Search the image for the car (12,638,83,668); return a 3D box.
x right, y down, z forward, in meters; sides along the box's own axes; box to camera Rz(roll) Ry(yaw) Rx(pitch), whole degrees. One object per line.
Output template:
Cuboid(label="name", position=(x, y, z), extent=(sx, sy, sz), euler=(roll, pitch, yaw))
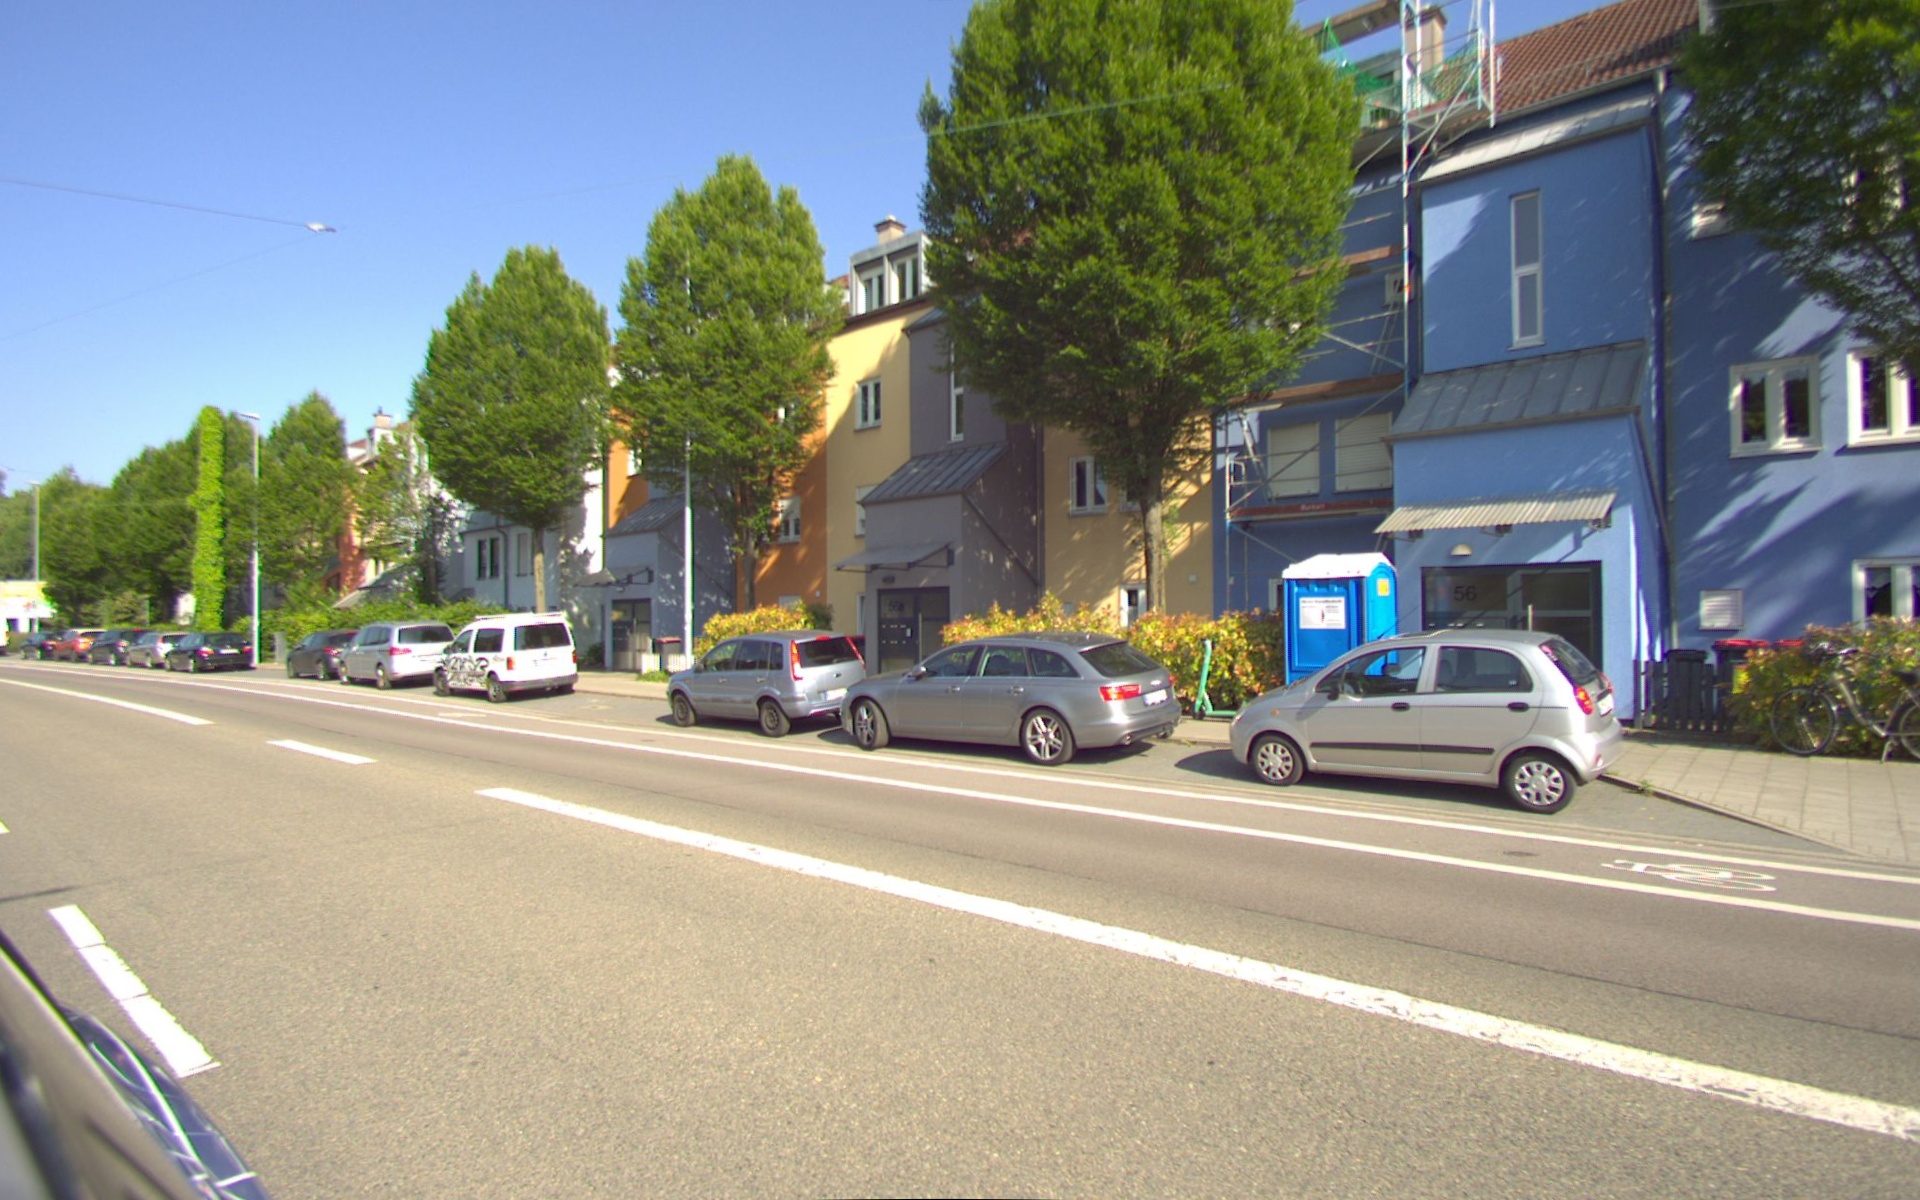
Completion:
Cuboid(label="car", position=(-46.339, 2.690, 51.352), extent=(4.701, 1.435, 1.638), euler=(-2, -2, 35))

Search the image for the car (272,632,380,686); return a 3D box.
Cuboid(label="car", position=(-19.434, 1.756, 30.964), extent=(4.054, 1.477, 1.600), euler=(-2, 0, 40))

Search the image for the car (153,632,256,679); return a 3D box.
Cuboid(label="car", position=(-28.291, 2.048, 37.863), extent=(4.903, 1.556, 1.848), euler=(-2, 0, 38))

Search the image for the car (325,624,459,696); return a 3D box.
Cuboid(label="car", position=(-15.399, 1.559, 27.307), extent=(4.822, 1.713, 1.651), euler=(-2, 0, 42))

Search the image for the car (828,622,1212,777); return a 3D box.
Cuboid(label="car", position=(0.613, 1.134, 12.969), extent=(4.750, 1.522, 1.732), euler=(-2, 2, 39))

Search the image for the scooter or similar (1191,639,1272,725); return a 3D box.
Cuboid(label="scooter or similar", position=(3.776, 1.129, 14.123), extent=(1.041, 1.162, 0.291), euler=(-2, -2, 38))

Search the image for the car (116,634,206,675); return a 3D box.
Cuboid(label="car", position=(-32.926, 2.212, 41.651), extent=(4.835, 1.482, 1.697), euler=(-1, 1, 36))

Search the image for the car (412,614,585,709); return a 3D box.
Cuboid(label="car", position=(-10.700, 1.362, 23.328), extent=(4.576, 1.859, 1.745), euler=(-2, 3, 40))

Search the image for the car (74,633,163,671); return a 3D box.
Cuboid(label="car", position=(-37.267, 2.264, 44.791), extent=(4.422, 1.586, 1.749), euler=(-1, -1, 32))

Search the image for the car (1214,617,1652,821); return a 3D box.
Cuboid(label="car", position=(4.456, 0.995, 9.783), extent=(3.507, 1.506, 1.585), euler=(-2, 2, 41))

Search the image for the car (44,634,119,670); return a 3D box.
Cuboid(label="car", position=(-41.968, 2.437, 48.316), extent=(4.152, 1.586, 1.747), euler=(-1, -1, 35))

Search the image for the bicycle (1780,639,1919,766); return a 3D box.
Cuboid(label="bicycle", position=(9.095, 0.979, 9.764), extent=(0.438, 1.163, 1.787), euler=(1, -2, -41))

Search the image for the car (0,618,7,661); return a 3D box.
Cuboid(label="car", position=(-58.730, 2.404, 59.696), extent=(6.163, 2.476, 2.136), euler=(-2, 0, 32))

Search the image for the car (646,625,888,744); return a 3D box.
Cuboid(label="car", position=(-3.214, 1.269, 16.439), extent=(3.980, 1.550, 1.744), euler=(-2, 3, 42))
